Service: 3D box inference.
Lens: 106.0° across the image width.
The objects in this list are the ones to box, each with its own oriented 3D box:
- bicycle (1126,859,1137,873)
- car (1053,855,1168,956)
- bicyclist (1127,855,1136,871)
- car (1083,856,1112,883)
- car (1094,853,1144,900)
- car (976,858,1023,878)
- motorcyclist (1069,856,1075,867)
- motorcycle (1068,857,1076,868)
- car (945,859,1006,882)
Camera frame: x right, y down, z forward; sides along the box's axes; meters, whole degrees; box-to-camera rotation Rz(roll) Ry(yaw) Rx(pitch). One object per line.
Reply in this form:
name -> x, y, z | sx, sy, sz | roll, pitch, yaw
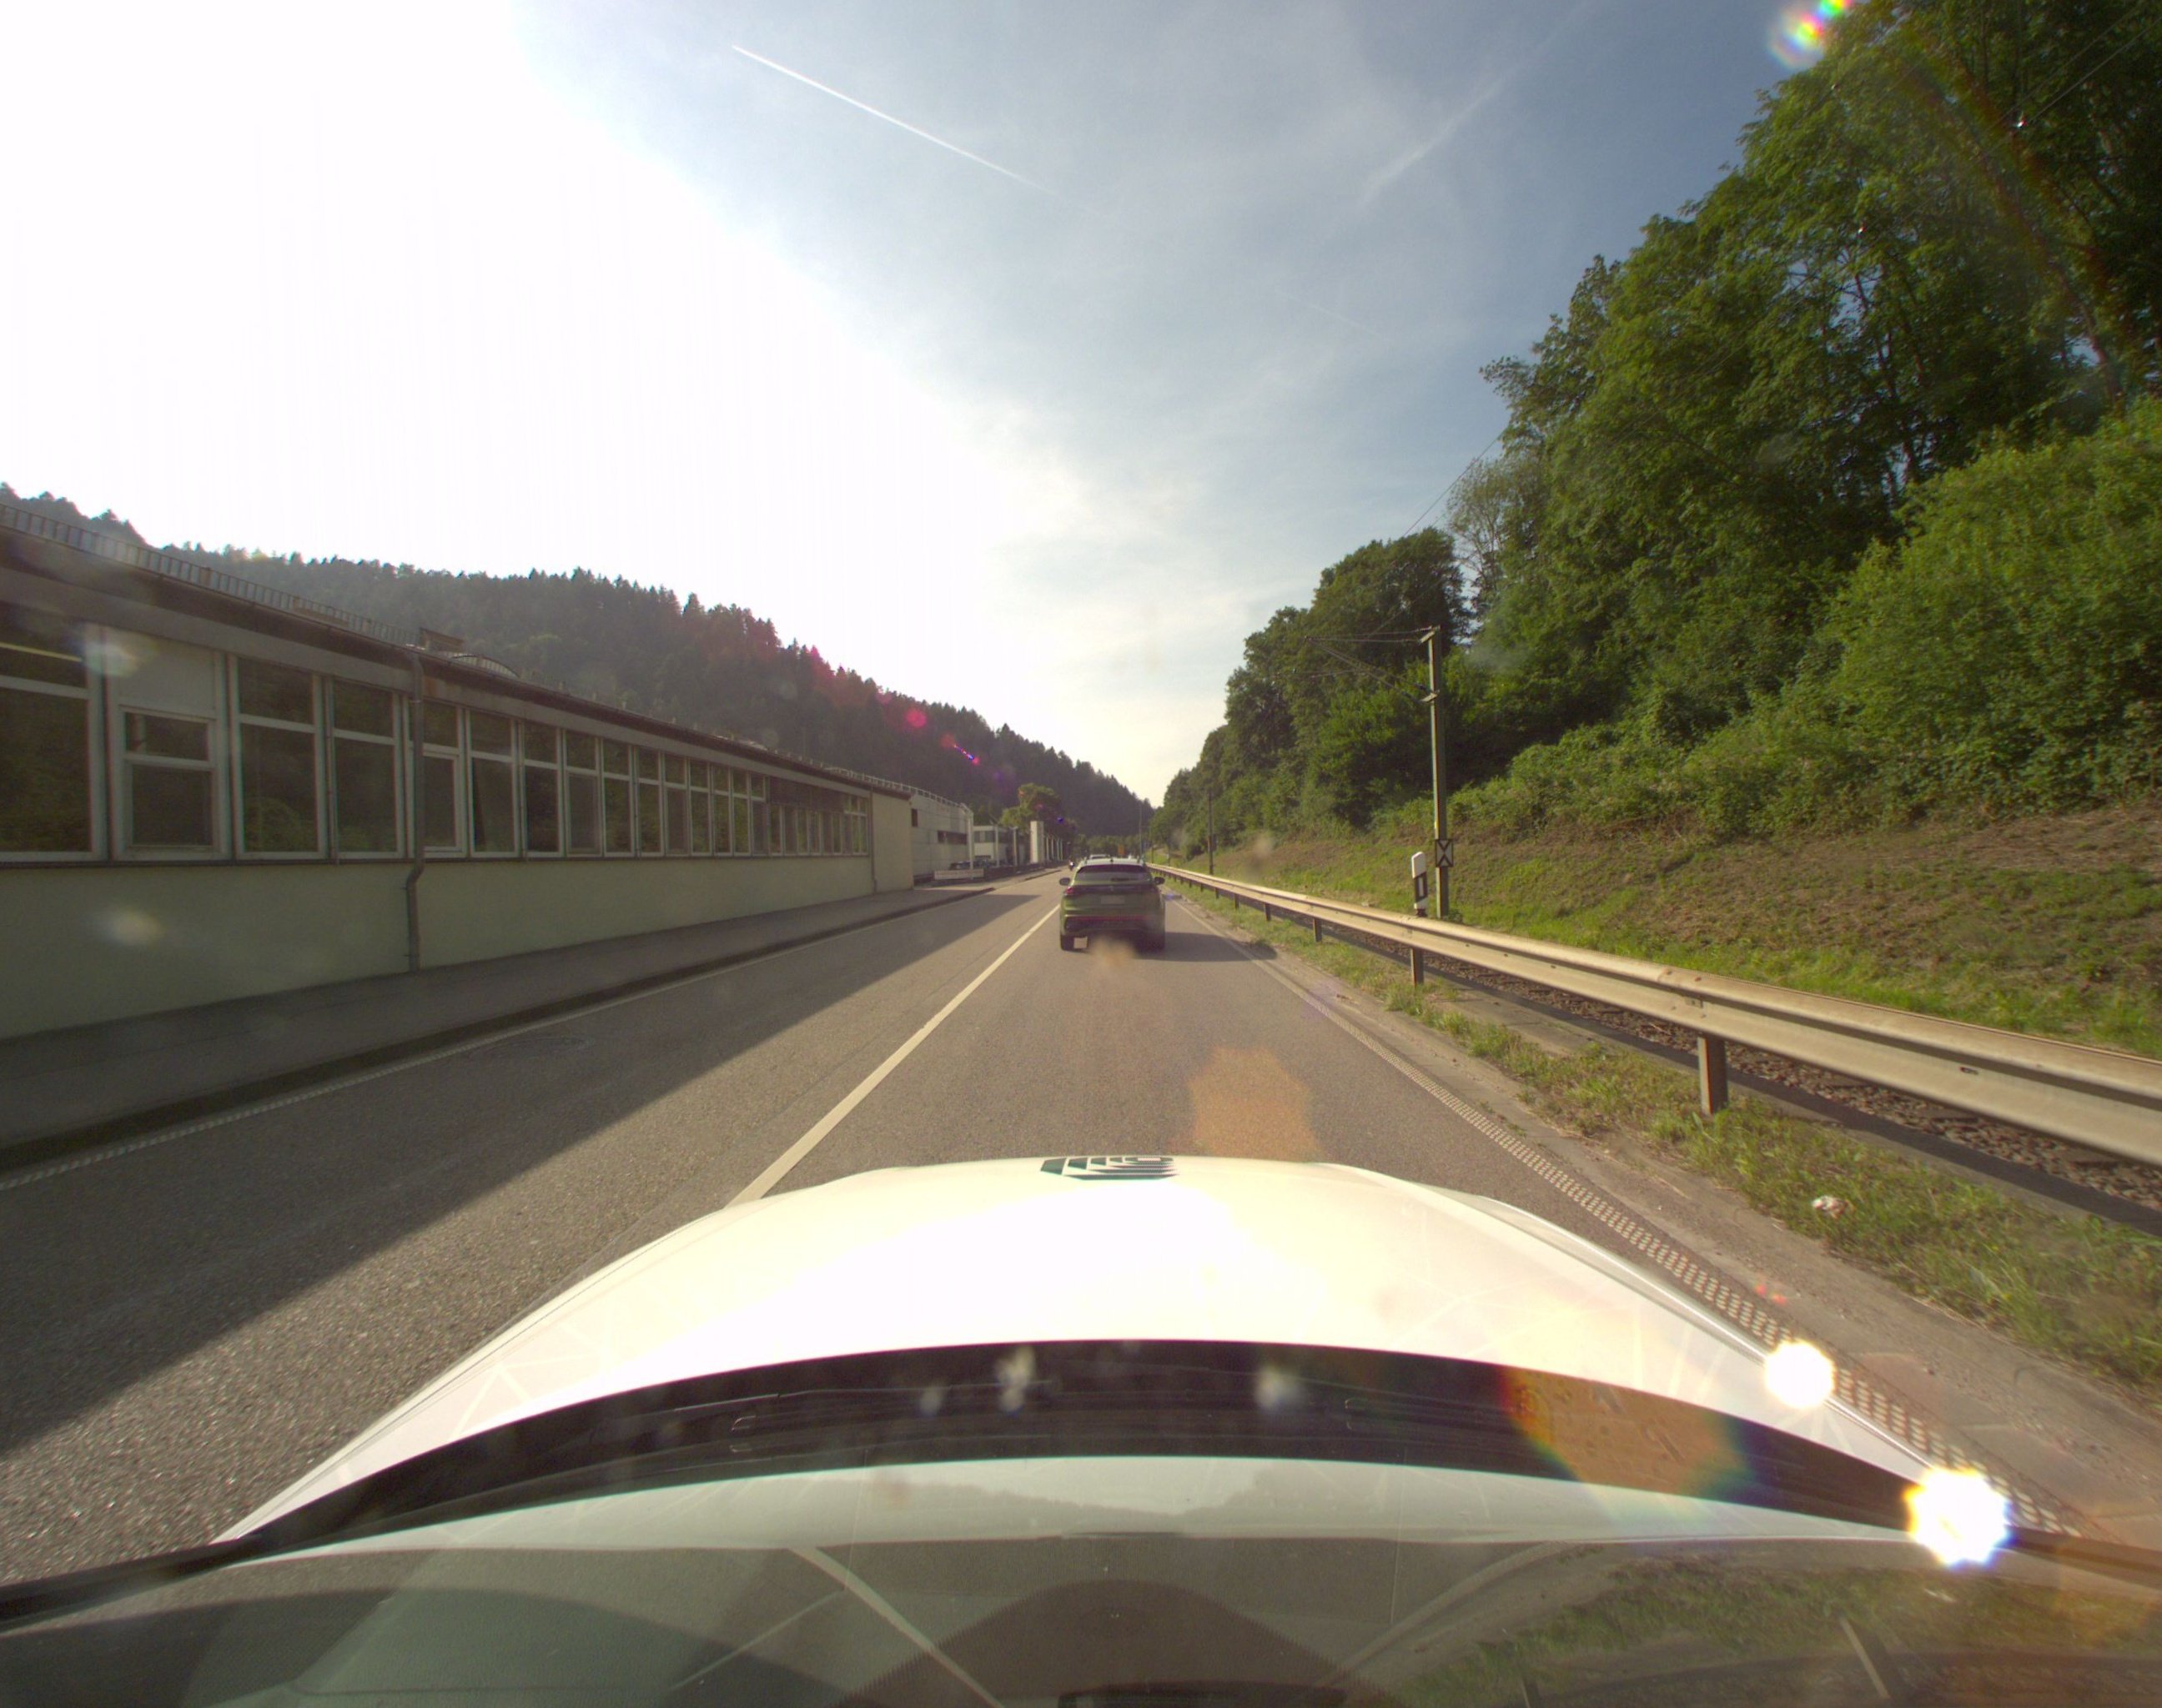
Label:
bicycle -> 4.450, 1.057, 71.714 | 0.809, 1.250, 2.122 | -1, 0, 0
car -> 0.501, 0.795, 14.486 | 1.733, 1.508, 4.001 | -1, 0, 1
bicyclist -> 4.445, 0.780, 71.830 | 0.779, 1.412, 0.675 | -1, -1, 0
car -> 1.033, 0.957, 50.721 | 1.733, 1.602, 4.001 | -1, 0, 1
car -> 1.370, 0.788, 30.448 | 1.733, 1.602, 4.001 | -1, 0, 1
car -> -7.533, 1.286, 75.290 | 1.759, 1.708, 4.135 | -2, -1, 43
motorcyclist -> -0.973, 0.821, 88.265 | 0.583, 1.124, 0.637 | -1, -1, 2
motorcycle -> -0.952, 0.906, 87.907 | 0.738, 1.068, 2.493 | -1, 0, 2
car -> -7.786, 1.210, 60.256 | 1.865, 1.592, 4.200 | -2, -1, 43
